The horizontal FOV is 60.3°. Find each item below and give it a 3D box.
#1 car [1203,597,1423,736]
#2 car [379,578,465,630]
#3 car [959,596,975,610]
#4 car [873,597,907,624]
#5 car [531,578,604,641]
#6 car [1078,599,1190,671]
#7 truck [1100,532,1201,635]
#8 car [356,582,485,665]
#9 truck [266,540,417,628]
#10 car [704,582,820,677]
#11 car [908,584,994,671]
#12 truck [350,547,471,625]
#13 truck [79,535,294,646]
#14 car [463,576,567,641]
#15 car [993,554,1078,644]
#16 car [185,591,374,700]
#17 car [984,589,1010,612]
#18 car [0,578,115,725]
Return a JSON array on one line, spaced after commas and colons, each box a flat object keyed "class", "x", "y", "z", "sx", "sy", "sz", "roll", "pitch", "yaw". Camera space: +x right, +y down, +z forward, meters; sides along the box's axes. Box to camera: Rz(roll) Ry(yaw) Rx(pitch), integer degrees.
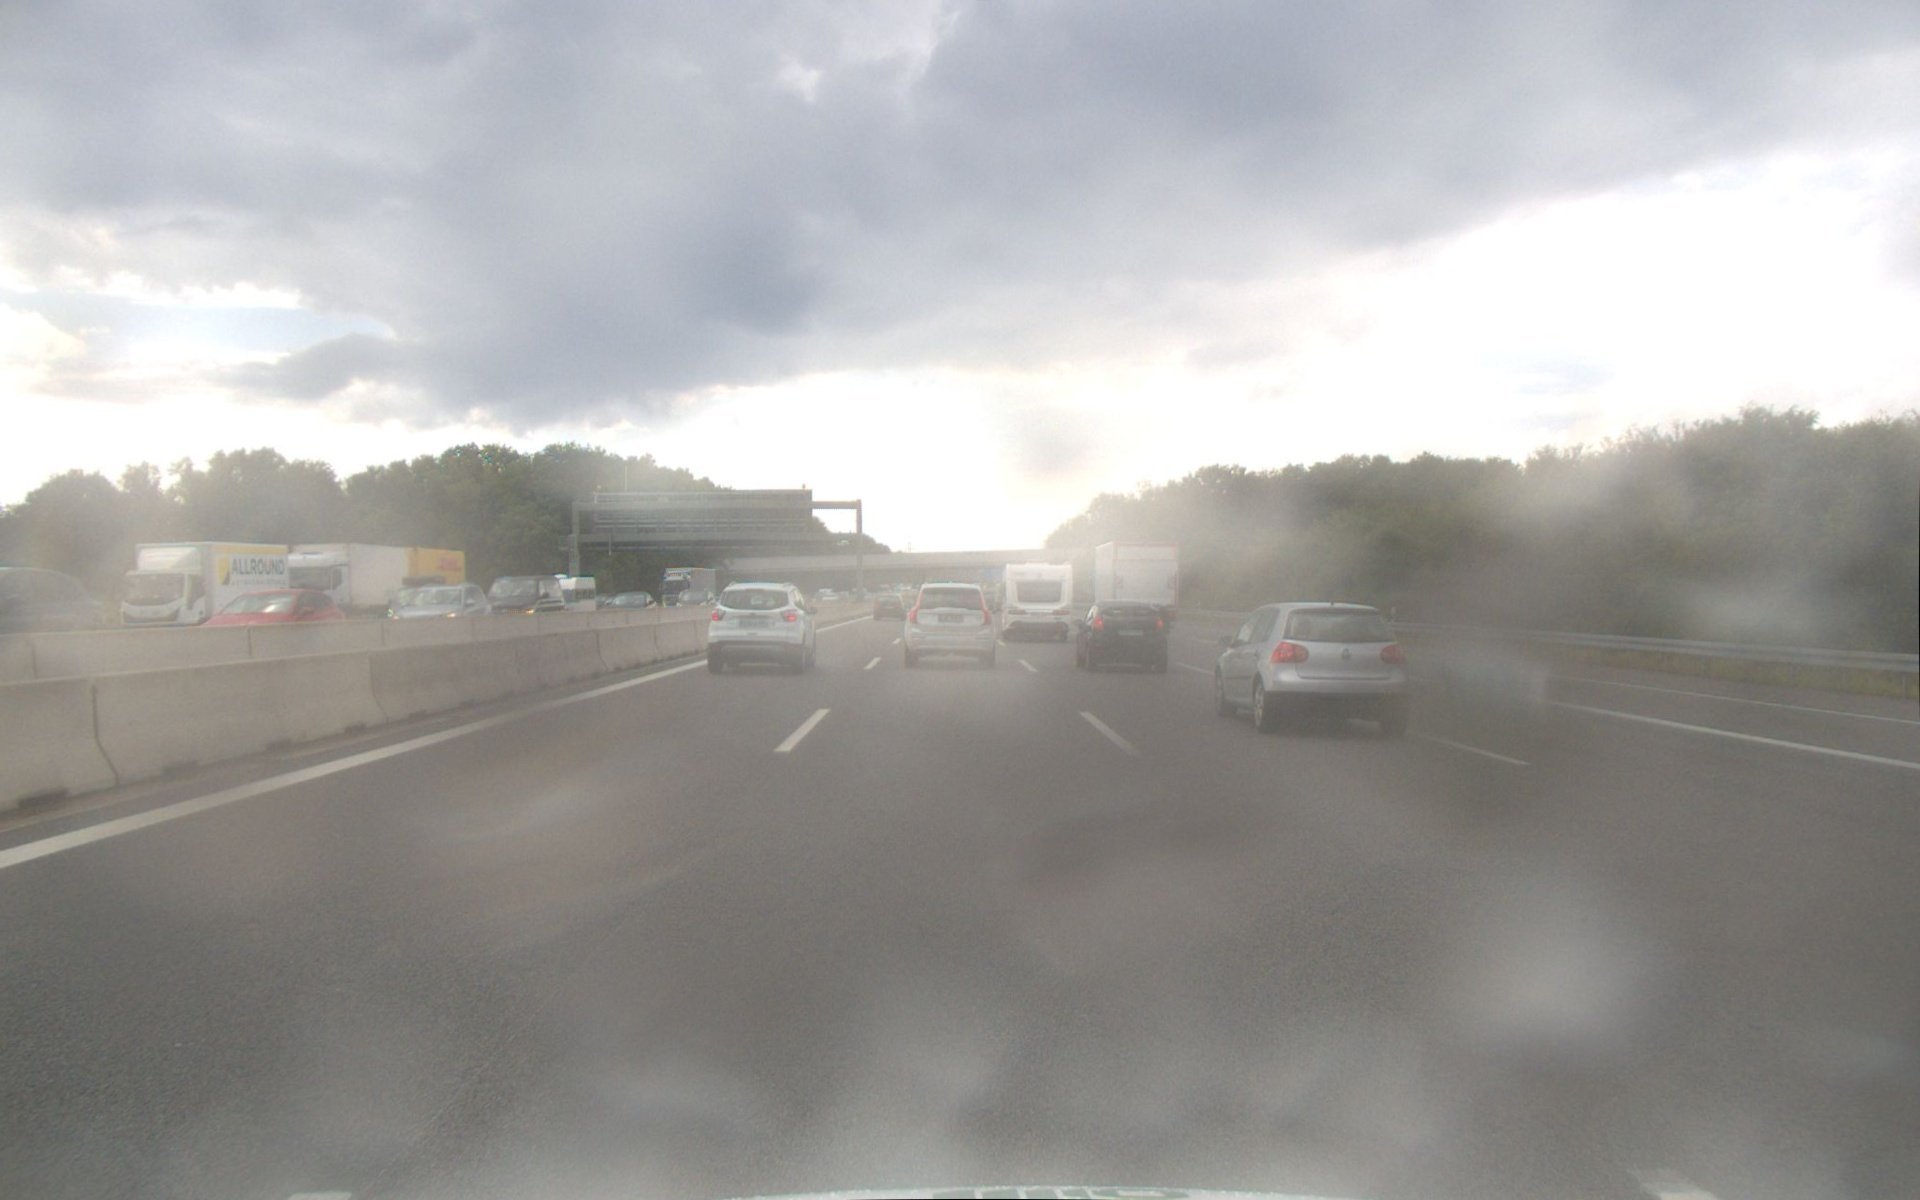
[{"class": "car", "x": 4.167, "y": 0.730, "z": 20.134, "sx": 1.759, "sy": 1.503, "sz": 4.037, "roll": 0, "pitch": 0, "yaw": -1}, {"class": "car", "x": -22.129, "y": 0.132, "z": 68.229, "sx": 1.953, "sy": 2.049, "sz": 5.345, "roll": 0, "pitch": 0, "yaw": -2}, {"class": "car", "x": 0.910, "y": 0.367, "z": 213.923, "sx": 1.843, "sy": 1.715, "sz": 3.998, "roll": 0, "pitch": 0, "yaw": -3}, {"class": "car", "x": -4.060, "y": 0.572, "z": 96.496, "sx": 1.744, "sy": 1.507, "sz": 4.353, "roll": 0, "pitch": 0, "yaw": 0}, {"class": "car", "x": -21.703, "y": 0.494, "z": 91.711, "sx": 2.606, "sy": 3.335, "sz": 6.560, "roll": 0, "pitch": 0, "yaw": -1}, {"class": "car", "x": 3.639, "y": 0.699, "z": 35.305, "sx": 1.846, "sy": 1.431, "sz": 4.281, "roll": 0, "pitch": 0, "yaw": -1}, {"class": "truck", "x": 7.450, "y": -0.621, "z": 66.018, "sx": 3.068, "sy": 3.774, "sz": 9.849, "roll": 0, "pitch": 0, "yaw": 1}, {"class": "car", "x": -14.026, "y": 0.568, "z": 43.273, "sx": 1.953, "sy": 2.049, "sz": 4.424, "roll": 0, "pitch": 0, "yaw": -1}, {"class": "truck", "x": -27.529, "y": -0.680, "z": 74.197, "sx": 2.819, "sy": 3.676, "sz": 10.312, "roll": 0, "pitch": 0, "yaw": 0}, {"class": "car", "x": -3.795, "y": 0.507, "z": 32.385, "sx": 1.778, "sy": 1.719, "sz": 4.851, "roll": 0, "pitch": 1, "yaw": -1}, {"class": "car", "x": -0.222, "y": 0.552, "z": 35.923, "sx": 1.745, "sy": 1.746, "sz": 4.352, "roll": 0, "pitch": 0, "yaw": -1}, {"class": "truck", "x": -27.485, "y": -0.691, "z": 83.306, "sx": 2.819, "sy": 3.676, "sz": 9.580, "roll": 0, "pitch": 0, "yaw": 0}, {"class": "truck", "x": -25.418, "y": -0.313, "z": 54.995, "sx": 2.850, "sy": 3.348, "sz": 9.200, "roll": 0, "pitch": 0, "yaw": -1}, {"class": "car", "x": -14.699, "y": 0.251, "z": 54.966, "sx": 1.953, "sy": 2.049, "sz": 5.757, "roll": 0, "pitch": 0, "yaw": -1}, {"class": "car", "x": 2.565, "y": -0.057, "z": 58.218, "sx": 2.515, "sy": 2.946, "sz": 7.532, "roll": 0, "pitch": 0, "yaw": -1}, {"class": "car", "x": -13.754, "y": 0.860, "z": 33.750, "sx": 1.953, "sy": 2.049, "sz": 4.686, "roll": 0, "pitch": 0, "yaw": -1}, {"class": "car", "x": 3.001, "y": 0.010, "z": 134.232, "sx": 2.001, "sy": 1.855, "sz": 4.904, "roll": 0, "pitch": 0, "yaw": 0}, {"class": "car", "x": -13.583, "y": 0.664, "z": 22.420, "sx": 1.953, "sy": 1.937, "sz": 4.503, "roll": 0, "pitch": 0, "yaw": 0}]
